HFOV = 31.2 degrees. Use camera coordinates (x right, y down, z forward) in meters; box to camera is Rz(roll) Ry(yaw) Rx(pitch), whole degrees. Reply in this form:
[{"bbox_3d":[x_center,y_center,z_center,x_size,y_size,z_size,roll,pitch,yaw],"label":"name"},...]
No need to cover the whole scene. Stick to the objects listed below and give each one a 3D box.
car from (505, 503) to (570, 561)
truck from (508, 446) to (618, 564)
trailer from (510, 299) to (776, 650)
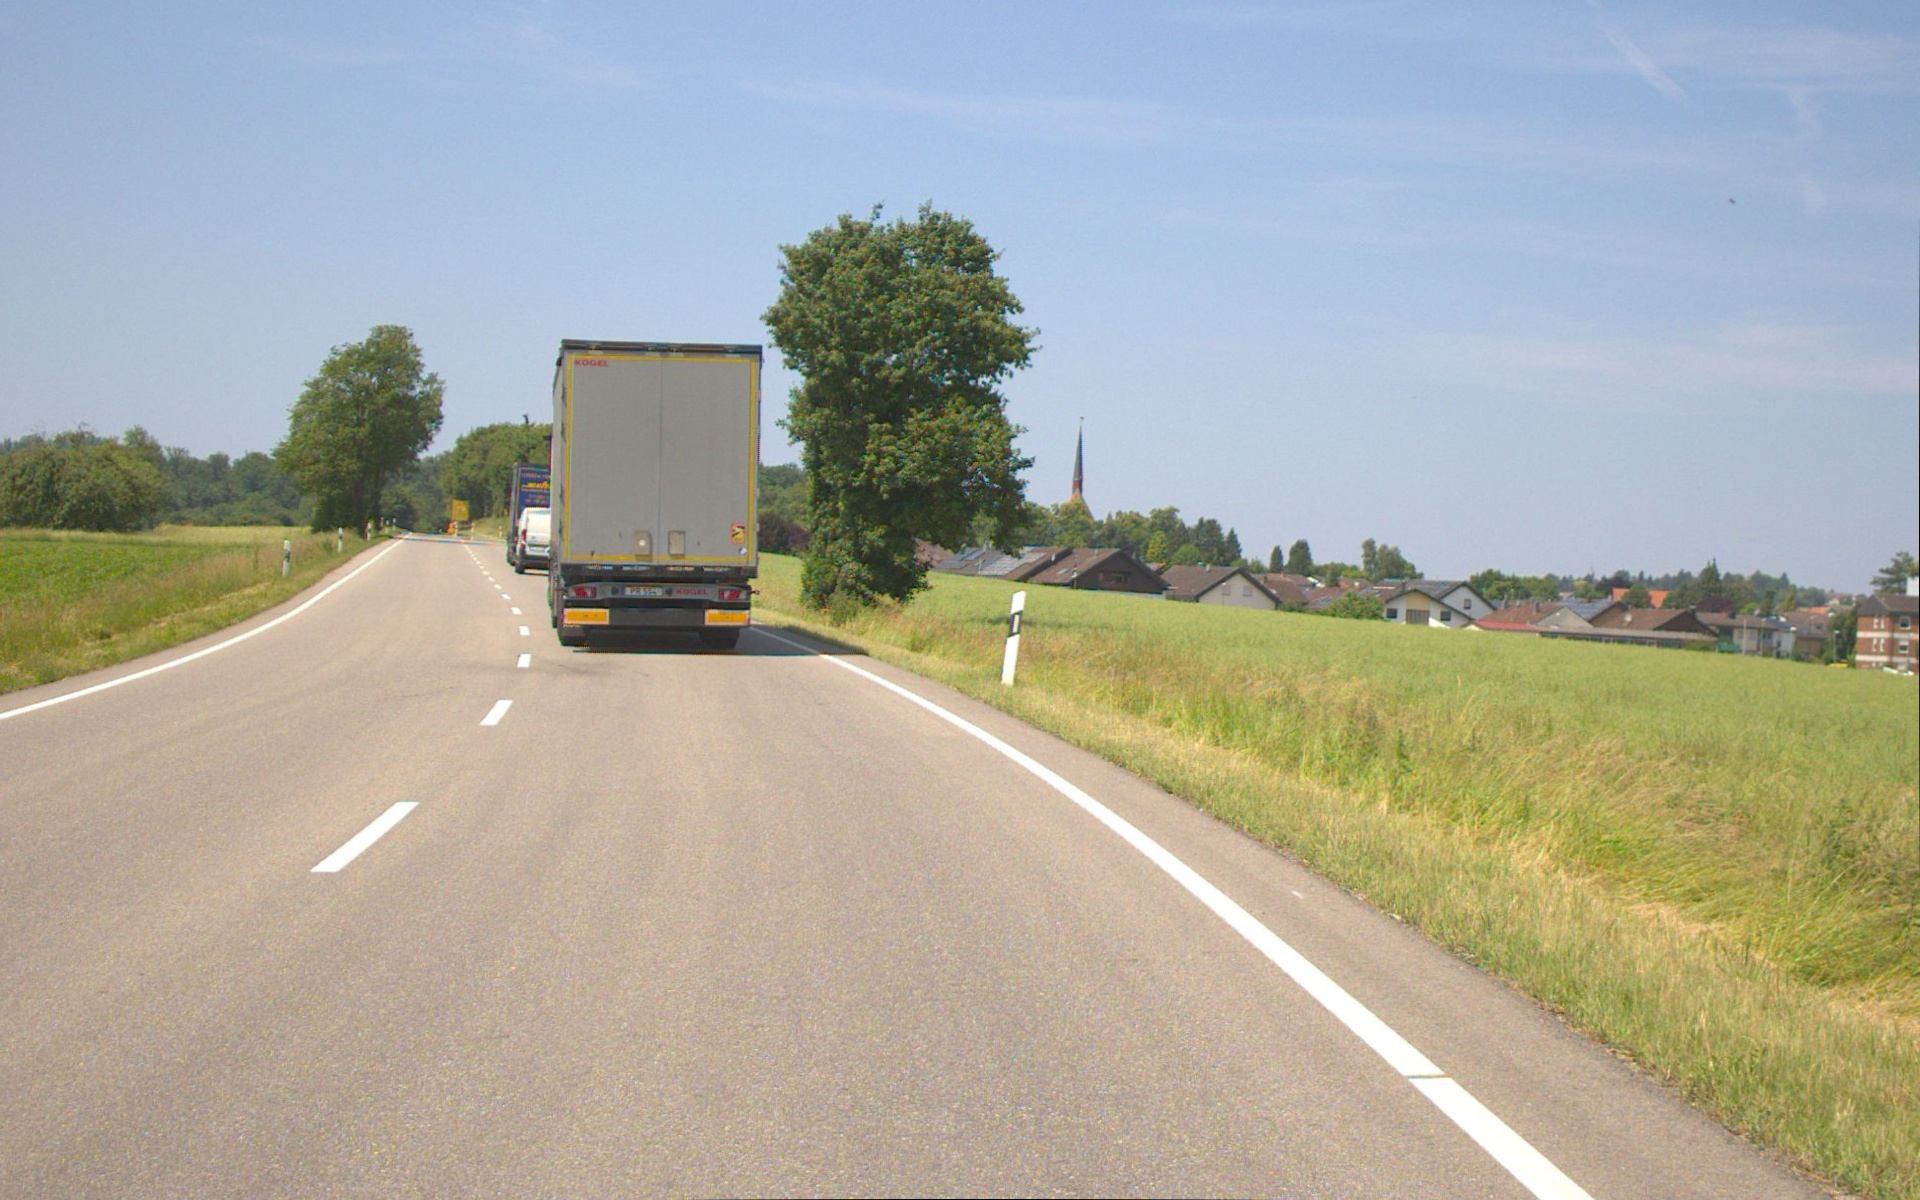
[{"bbox_3d":[-14.195,-2.276,115.647,1.725,1.866,4.000,1,1,-1],"label":"car"},{"bbox_3d":[-16.013,-3.790,139.839,3.549,4.377,18.124,2,1,-4],"label":"truck"},{"bbox_3d":[-4.879,-1.752,50.175,2.866,4.385,13.497,1,1,-9],"label":"trailer"}]
